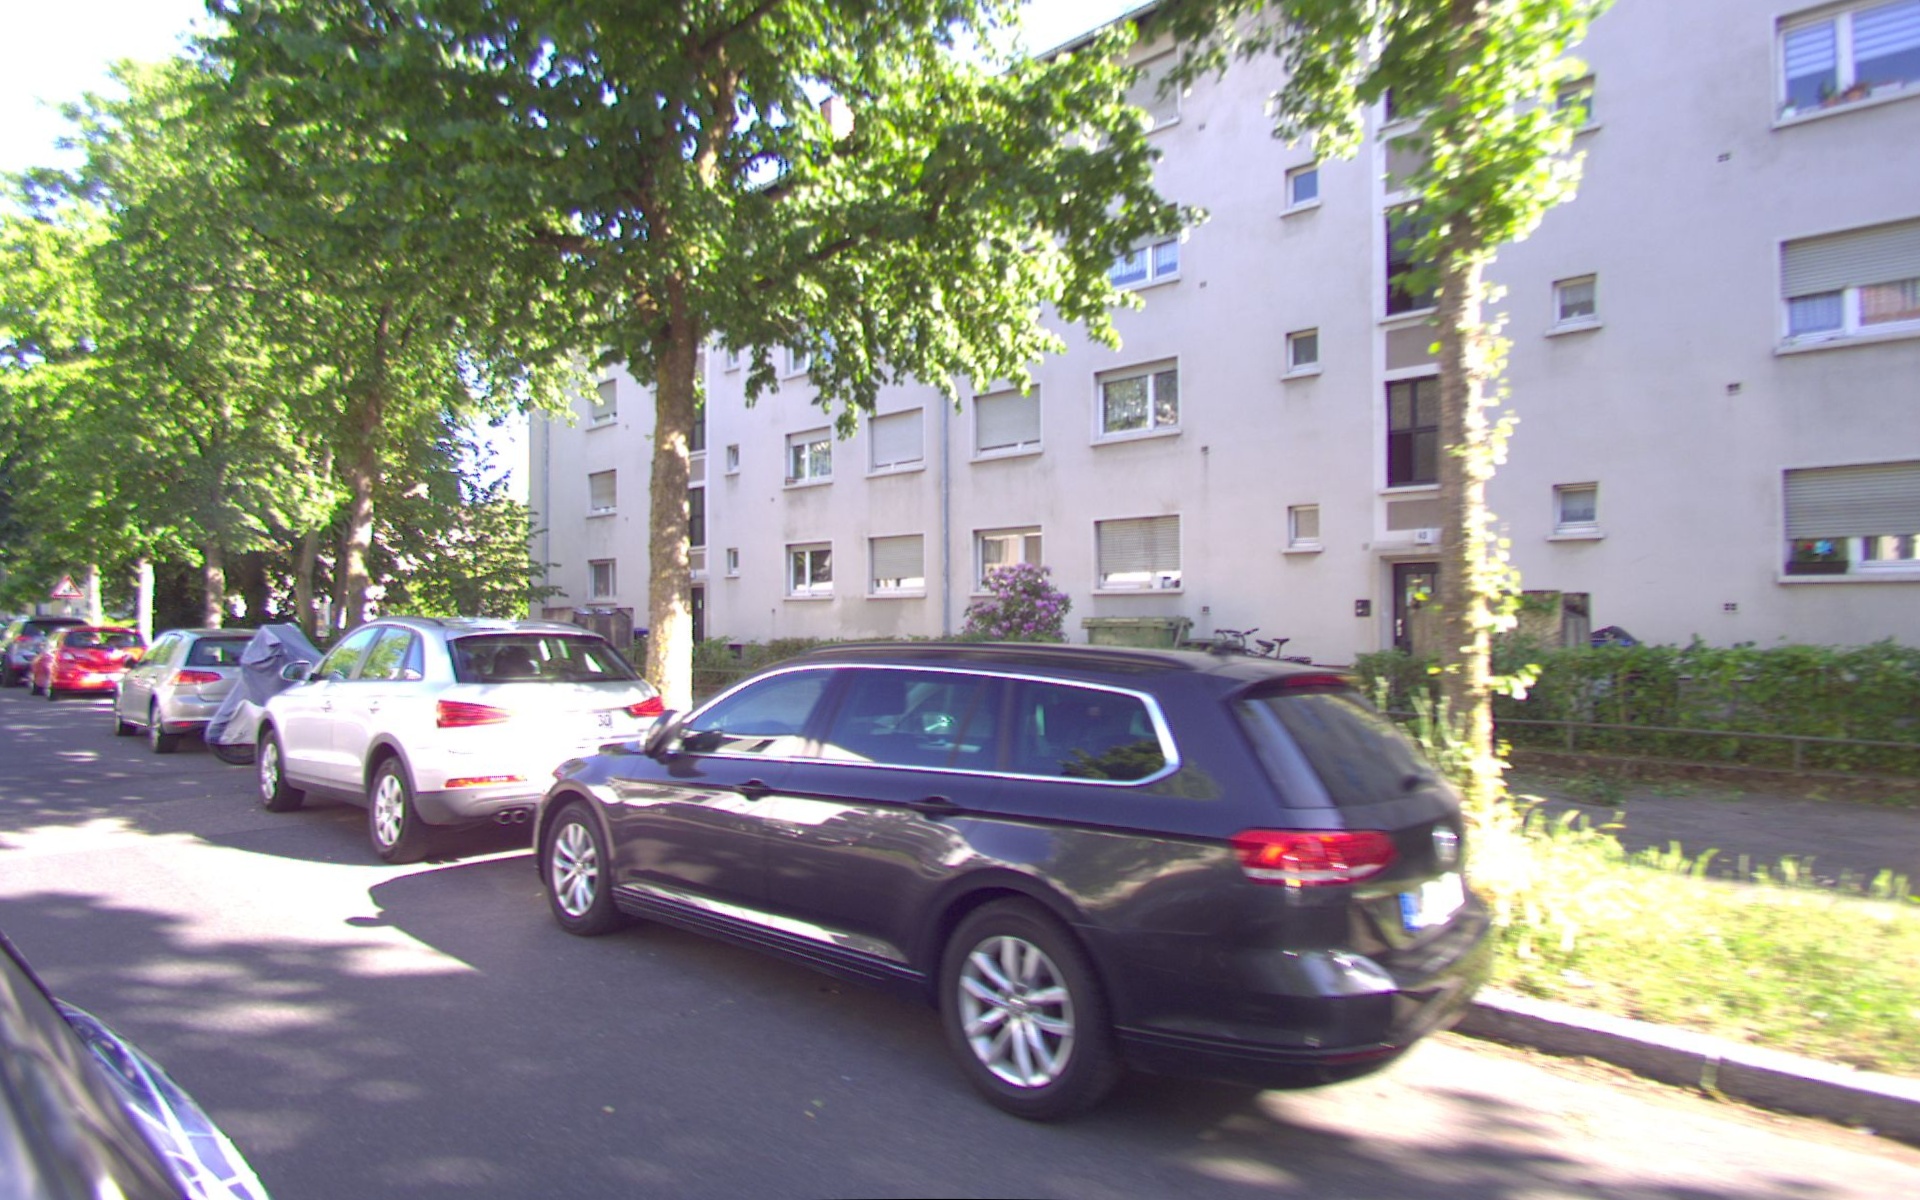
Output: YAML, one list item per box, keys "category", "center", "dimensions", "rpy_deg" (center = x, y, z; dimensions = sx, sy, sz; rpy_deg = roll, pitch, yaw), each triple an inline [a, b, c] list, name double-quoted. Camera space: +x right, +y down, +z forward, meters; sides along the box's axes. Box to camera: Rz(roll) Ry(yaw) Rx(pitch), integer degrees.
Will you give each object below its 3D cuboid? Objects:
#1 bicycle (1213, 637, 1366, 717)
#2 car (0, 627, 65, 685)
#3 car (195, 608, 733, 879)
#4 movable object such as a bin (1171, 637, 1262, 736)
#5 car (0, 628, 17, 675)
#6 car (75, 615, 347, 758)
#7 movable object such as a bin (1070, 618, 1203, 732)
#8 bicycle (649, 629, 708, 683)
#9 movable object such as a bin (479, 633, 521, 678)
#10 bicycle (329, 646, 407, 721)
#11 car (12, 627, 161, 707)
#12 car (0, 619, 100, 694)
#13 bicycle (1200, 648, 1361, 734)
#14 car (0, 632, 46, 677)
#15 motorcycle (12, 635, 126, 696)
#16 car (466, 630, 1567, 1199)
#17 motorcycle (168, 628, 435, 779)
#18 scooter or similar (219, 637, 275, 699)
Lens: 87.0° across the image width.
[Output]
- category: "bicycle"
  center: [4.689, 1.060, 14.469]
  dimensions: [1.932, 1.049, 0.779]
  rpy_deg: [-1, -2, 38]
- category: "car"
  center: [-26.898, 1.543, 28.743]
  dimensions: [4.419, 1.543, 1.750]
  rpy_deg: [-2, -2, 43]
- category: "car"
  center: [-4.116, 0.881, 8.043]
  dimensions: [4.716, 1.536, 2.044]
  rpy_deg: [-2, -2, 39]
- category: "movable object such as a bin"
  center: [3.050, 0.997, 12.010]
  dimensions: [0.753, 1.100, 0.921]
  rpy_deg: [-1, -2, 36]
- category: "car"
  center: [-34.818, 1.802, 35.843]
  dimensions: [4.481, 1.589, 1.687]
  rpy_deg: [-2, -3, 43]
- category: "car"
  center: [-9.867, 0.987, 13.181]
  dimensions: [4.606, 1.536, 2.020]
  rpy_deg: [-1, -2, 43]
- category: "movable object such as a bin"
  center: [2.197, 0.897, 12.633]
  dimensions: [1.376, 1.334, 0.921]
  rpy_deg: [-1, -2, 36]
- category: "bicycle"
  center: [-6.926, 1.351, 24.870]
  dimensions: [1.913, 1.299, 0.394]
  rpy_deg: [-1, -2, 41]
- category: "movable object such as a bin"
  center: [-11.313, 1.348, 24.901]
  dimensions: [0.760, 1.076, 0.686]
  rpy_deg: [-2, -2, 43]
- category: "bicycle"
  center: [-9.307, 1.273, 15.877]
  dimensions: [0.524, 1.022, 2.093]
  rpy_deg: [-8, 4, -42]
- category: "car"
  center: [-18.292, 1.323, 21.130]
  dimensions: [4.181, 1.481, 1.836]
  rpy_deg: [-2, -2, 42]
- category: "car"
  center: [-23.046, 1.346, 25.203]
  dimensions: [4.811, 1.701, 1.749]
  rpy_deg: [-1, -3, 41]
- category: "bicycle"
  center: [4.304, 1.192, 13.684]
  dimensions: [1.935, 1.049, 0.778]
  rpy_deg: [-1, -2, 41]
- category: "car"
  center: [-30.886, 1.724, 32.423]
  dimensions: [4.478, 1.363, 1.766]
  rpy_deg: [-1, -3, 40]
- category: "motorcycle"
  center: [-20.621, 1.488, 23.477]
  dimensions: [1.929, 1.342, 0.788]
  rpy_deg: [2, -3, -41]
- category: "car"
  center: [-0.248, 0.899, 4.489]
  dimensions: [4.818, 1.458, 1.710]
  rpy_deg: [-2, -4, 41]
- category: "motorcycle"
  center: [-6.973, 1.064, 10.810]
  dimensions: [2.203, 1.515, 0.989]
  rpy_deg: [0, -2, 2]
- category: "scooter or similar"
  center: [-15.106, 1.418, 21.461]
  dimensions: [0.547, 1.244, 1.518]
  rpy_deg: [0, -2, -19]
